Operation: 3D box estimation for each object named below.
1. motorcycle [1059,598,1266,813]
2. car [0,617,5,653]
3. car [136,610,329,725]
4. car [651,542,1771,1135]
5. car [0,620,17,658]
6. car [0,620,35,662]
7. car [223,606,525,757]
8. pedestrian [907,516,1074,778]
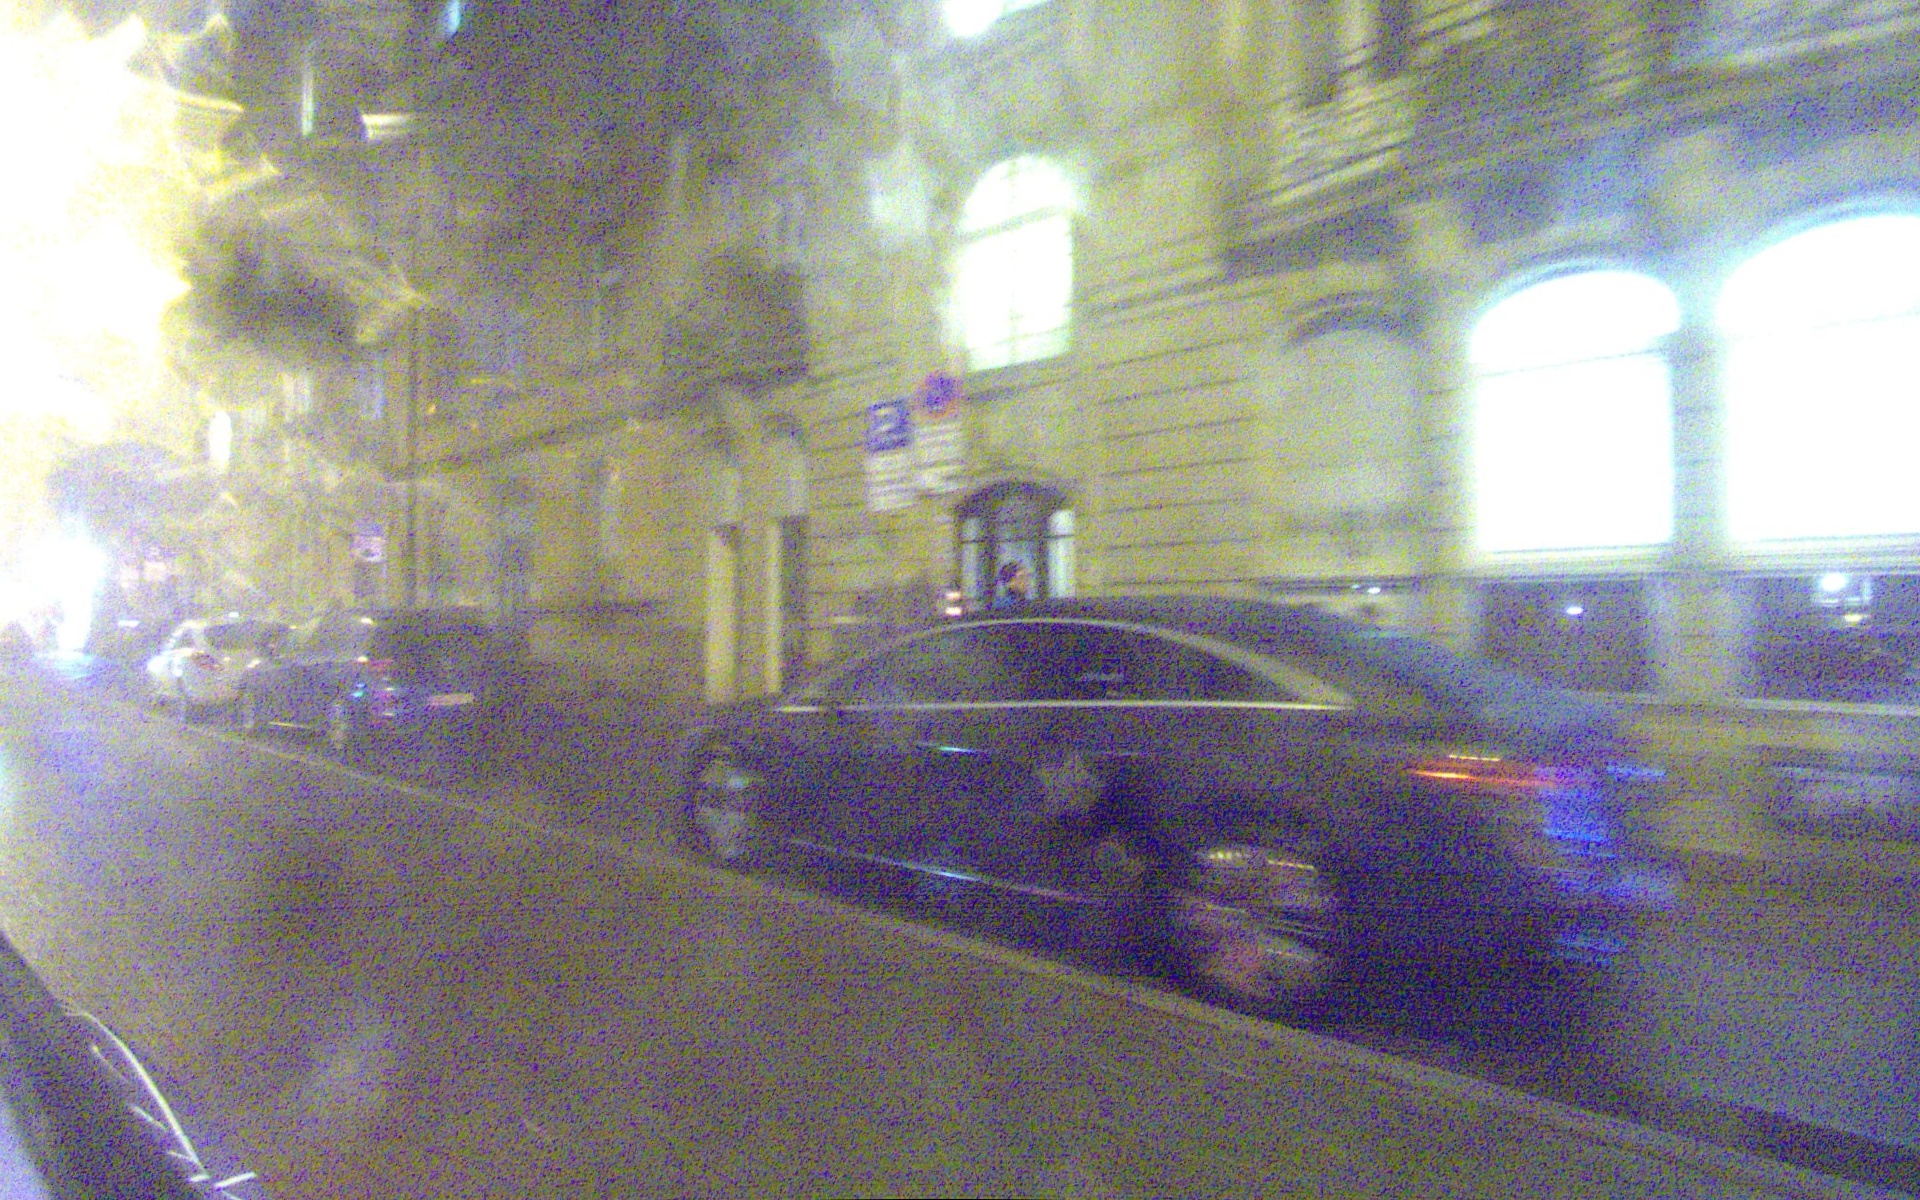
[{"bbox_3d":[1.510,0.744,7.700,1.457,1.482,0.531,-1,-1,41],"label":"motorcycle"},{"bbox_3d":[-44.350,1.592,45.405,3.733,1.592,1.828,-1,0,41],"label":"car"},{"bbox_3d":[-11.088,0.933,15.333,3.786,1.489,1.697,-1,0,44],"label":"car"},{"bbox_3d":[0.665,0.647,4.925,5.029,1.489,1.827,-1,-1,42],"label":"car"},{"bbox_3d":[-40.011,1.591,41.355,3.733,1.489,1.828,-1,0,41],"label":"car"},{"bbox_3d":[-35.695,1.507,37.392,3.733,1.489,1.828,-1,0,41],"label":"car"},{"bbox_3d":[-7.015,0.842,11.952,4.154,1.489,1.699,-1,-1,39],"label":"car"},{"bbox_3d":[0.223,0.336,7.762,1.078,1.846,0.667,-1,-1,43],"label":"pedestrian"}]
